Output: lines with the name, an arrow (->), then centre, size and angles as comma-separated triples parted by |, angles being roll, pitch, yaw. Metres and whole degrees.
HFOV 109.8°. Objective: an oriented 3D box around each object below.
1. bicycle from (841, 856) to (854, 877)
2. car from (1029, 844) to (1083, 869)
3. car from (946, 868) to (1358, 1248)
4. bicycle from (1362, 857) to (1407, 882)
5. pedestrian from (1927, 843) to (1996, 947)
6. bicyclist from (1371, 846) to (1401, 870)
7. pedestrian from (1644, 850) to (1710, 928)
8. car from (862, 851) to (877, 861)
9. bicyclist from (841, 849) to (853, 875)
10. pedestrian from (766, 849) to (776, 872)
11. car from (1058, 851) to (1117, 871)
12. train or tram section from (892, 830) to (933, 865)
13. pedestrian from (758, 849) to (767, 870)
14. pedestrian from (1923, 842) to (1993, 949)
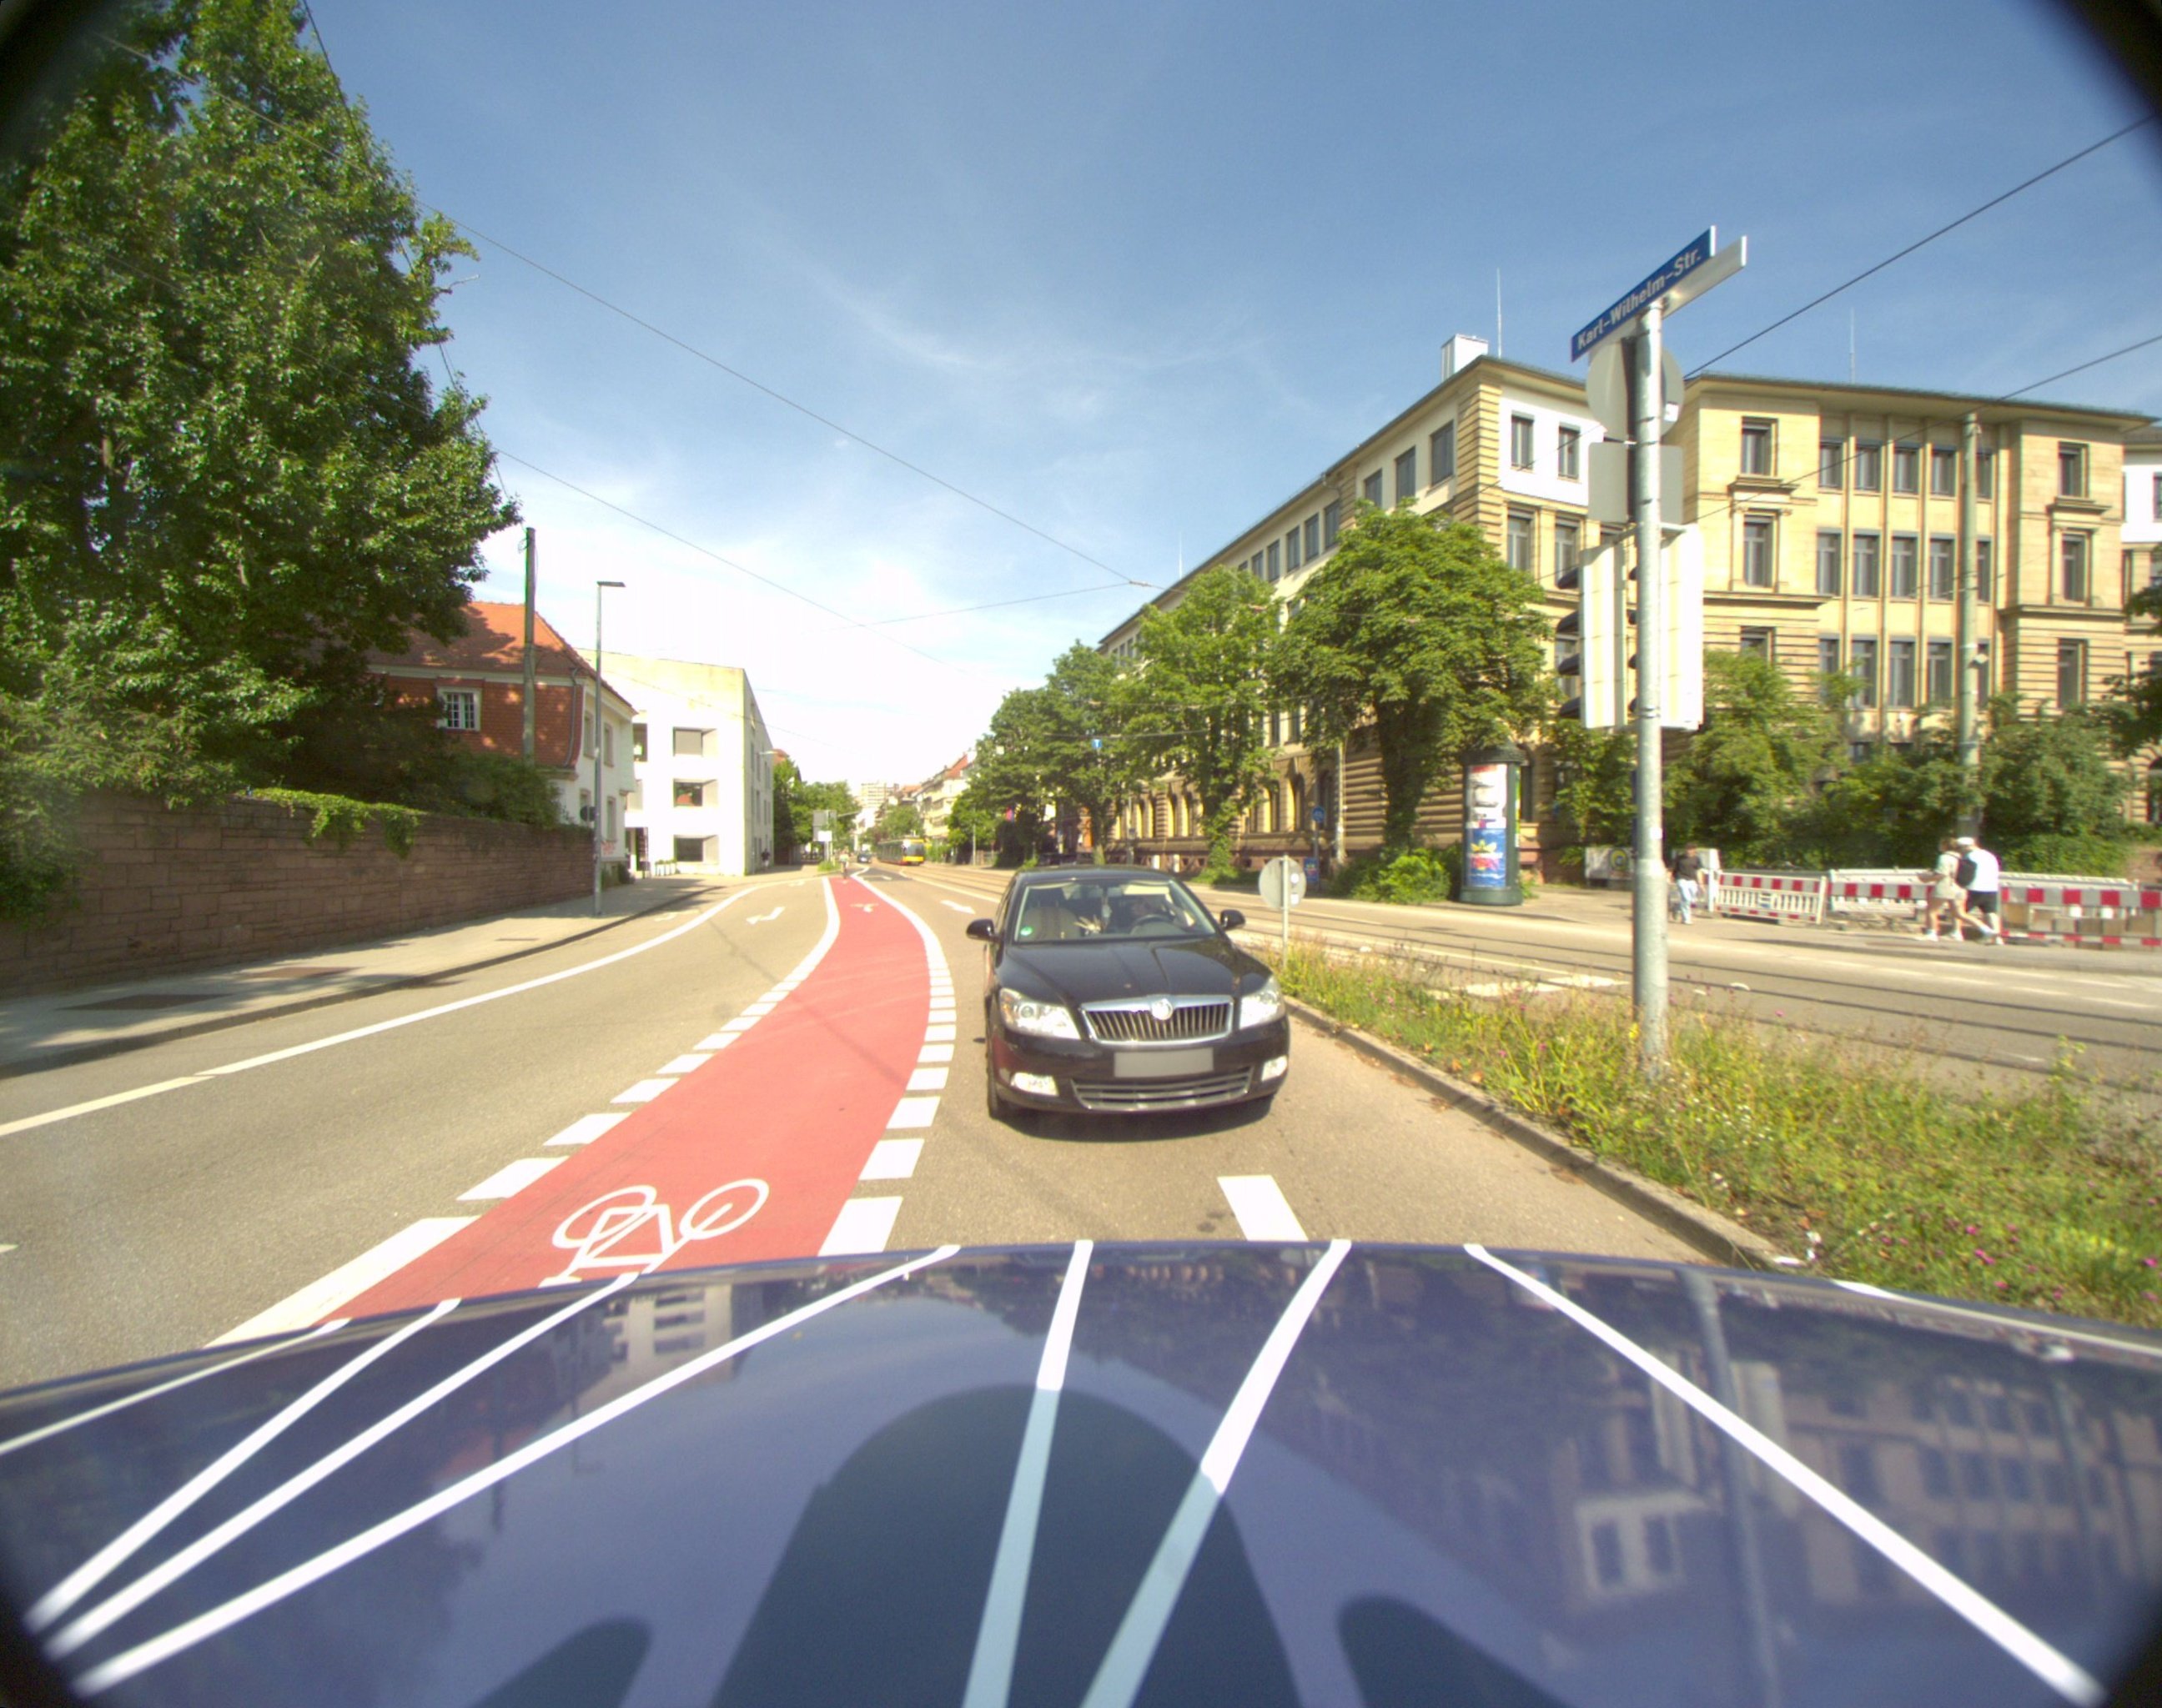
bicycle -> -14.167, 0.739, 46.114 | 0.686, 1.215, 2.183 | 0, 0, -17
car -> -2.076, 0.241, 62.361 | 4.004, 2.002, 1.996 | 0, 0, -20
car -> 0.089, 0.932, 5.793 | 1.865, 1.510, 4.824 | 0, 1, -6
bicycle -> 12.120, 0.601, 30.437 | 0.702, 0.941, 1.662 | 0, 1, -23
pedestrian -> 15.173, 0.683, 13.110 | 0.586, 1.739, 0.743 | -1, 1, -41
bicyclist -> 12.166, 0.163, 30.341 | 0.683, 0.921, 0.868 | 0, 1, -23
pedestrian -> 12.977, 0.742, 16.580 | 0.938, 1.646, 0.845 | 0, 1, 25
car -> -29.106, 0.251, 104.580 | 1.804, 1.368, 4.271 | 0, 0, -14
bicyclist -> -14.123, 0.489, 45.910 | 0.588, 1.539, 0.930 | -3, 1, -16
pedestrian -> -23.129, 0.457, 56.654 | 0.651, 1.697, 0.710 | 0, 1, -19
car -> 0.475, 0.502, 57.403 | 4.004, 1.455, 1.996 | 0, 0, -20
train or tram section -> -20.218, -0.735, 90.334 | 3.219, 3.838, 14.563 | 0, 0, -19
pedestrian -> -23.609, 0.402, 56.375 | 0.550, 1.559, 0.930 | 0, 1, -19
pedestrian -> 14.659, 0.666, 12.714 | 0.586, 1.739, 0.743 | -1, 1, -41
